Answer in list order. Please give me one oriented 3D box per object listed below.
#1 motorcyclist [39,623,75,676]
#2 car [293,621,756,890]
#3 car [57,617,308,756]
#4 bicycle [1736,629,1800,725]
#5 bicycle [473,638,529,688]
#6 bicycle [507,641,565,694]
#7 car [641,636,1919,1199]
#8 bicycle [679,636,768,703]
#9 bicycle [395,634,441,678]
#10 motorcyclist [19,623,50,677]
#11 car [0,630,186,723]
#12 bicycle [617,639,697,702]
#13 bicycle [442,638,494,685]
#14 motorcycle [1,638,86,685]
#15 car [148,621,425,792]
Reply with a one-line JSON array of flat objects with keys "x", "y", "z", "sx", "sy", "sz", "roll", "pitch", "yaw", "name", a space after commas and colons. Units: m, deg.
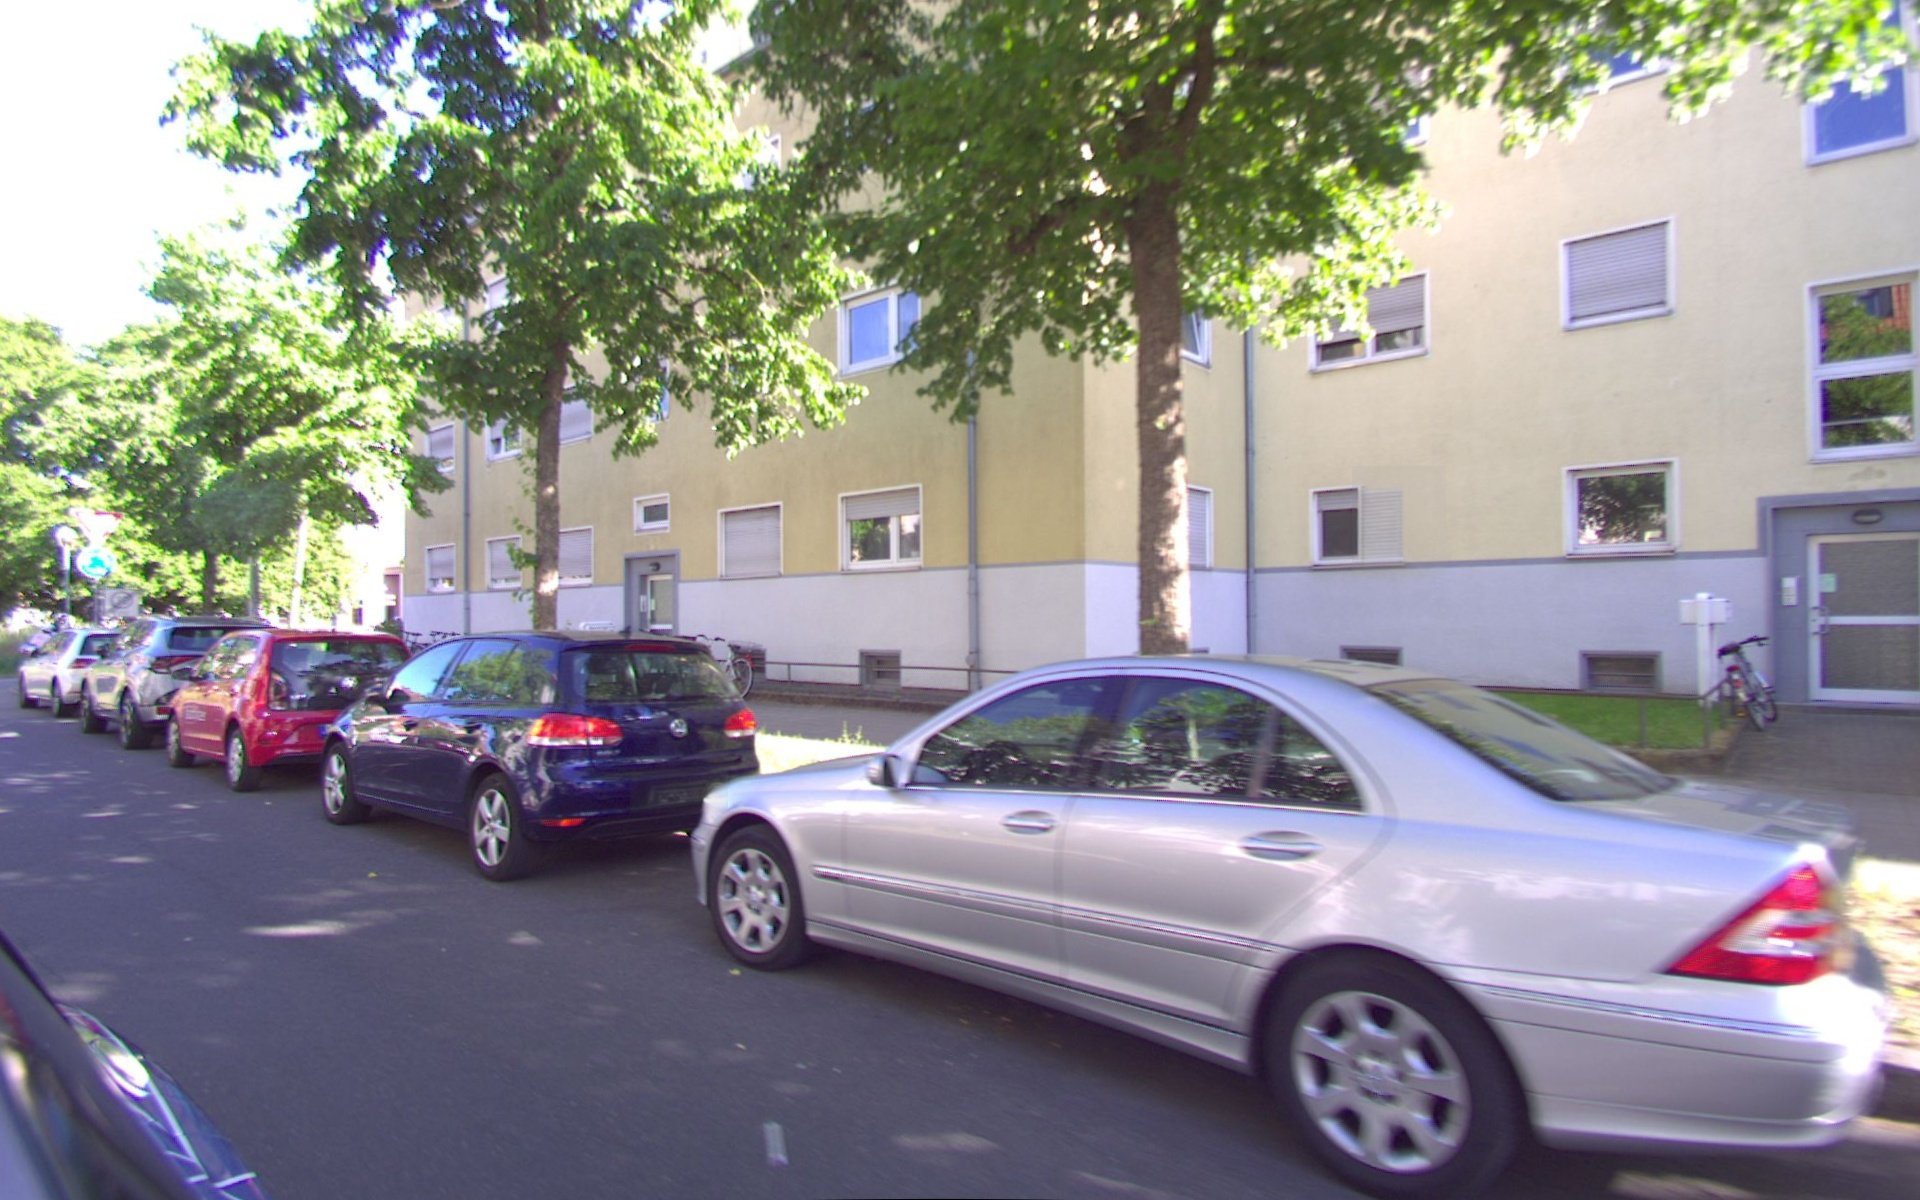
[{"x": -24.455, "y": 1.337, "z": 27.413, "sx": 0.550, "sy": 1.413, "sz": 0.516, "roll": -1, "pitch": -1, "yaw": 19, "name": "motorcyclist"}, {"x": -3.381, "y": 0.916, "z": 7.501, "sx": 3.931, "sy": 1.470, "sz": 1.647, "roll": -2, "pitch": -2, "yaw": 41, "name": "car"}, {"x": -10.592, "y": 1.051, "z": 13.651, "sx": 4.731, "sy": 1.577, "sz": 1.674, "roll": -2, "pitch": -2, "yaw": 40, "name": "car"}, {"x": 8.593, "y": 0.786, "z": 10.789, "sx": 0.480, "sy": 0.938, "sz": 1.616, "roll": -2, "pitch": -2, "yaw": 38, "name": "bicycle"}, {"x": -9.706, "y": 1.306, "z": 21.385, "sx": 1.544, "sy": 1.008, "sz": 0.506, "roll": -2, "pitch": -2, "yaw": 42, "name": "bicycle"}, {"x": -8.495, "y": 1.322, "z": 20.237, "sx": 1.545, "sy": 1.008, "sz": 0.509, "roll": -2, "pitch": -2, "yaw": 45, "name": "bicycle"}, {"x": 0.791, "y": 0.836, "z": 3.956, "sx": 4.672, "sy": 1.379, "sz": 1.727, "roll": -2, "pitch": -3, "yaw": 41, "name": "car"}, {"x": -3.869, "y": 1.111, "z": 16.495, "sx": 1.748, "sy": 1.034, "sz": 0.530, "roll": -2, "pitch": -3, "yaw": 43, "name": "bicycle"}, {"x": -12.963, "y": 1.324, "z": 24.188, "sx": 1.544, "sy": 1.008, "sz": 0.448, "roll": -2, "pitch": -2, "yaw": 42, "name": "bicycle"}, {"x": -24.679, "y": 1.322, "z": 26.974, "sx": 0.541, "sy": 1.437, "sz": 0.401, "roll": -1, "pitch": -2, "yaw": 21, "name": "motorcyclist"}, {"x": -15.386, "y": 1.275, "z": 17.913, "sx": 3.988, "sy": 1.453, "sz": 1.743, "roll": -2, "pitch": -2, "yaw": 38, "name": "car"}, {"x": -5.330, "y": 1.209, "z": 17.770, "sx": 1.748, "sy": 1.034, "sz": 0.534, "roll": -2, "pitch": -2, "yaw": 43, "name": "bicycle"}, {"x": -11.051, "y": 1.364, "z": 22.706, "sx": 1.681, "sy": 1.008, "sz": 0.430, "roll": -2, "pitch": -2, "yaw": 42, "name": "bicycle"}, {"x": -24.554, "y": 1.632, "z": 27.151, "sx": 0.550, "sy": 1.184, "sz": 1.622, "roll": -1, "pitch": -1, "yaw": 19, "name": "motorcycle"}, {"x": -7.141, "y": 0.992, "z": 10.638, "sx": 3.255, "sy": 1.497, "sz": 1.647, "roll": -2, "pitch": -2, "yaw": 41, "name": "car"}]
